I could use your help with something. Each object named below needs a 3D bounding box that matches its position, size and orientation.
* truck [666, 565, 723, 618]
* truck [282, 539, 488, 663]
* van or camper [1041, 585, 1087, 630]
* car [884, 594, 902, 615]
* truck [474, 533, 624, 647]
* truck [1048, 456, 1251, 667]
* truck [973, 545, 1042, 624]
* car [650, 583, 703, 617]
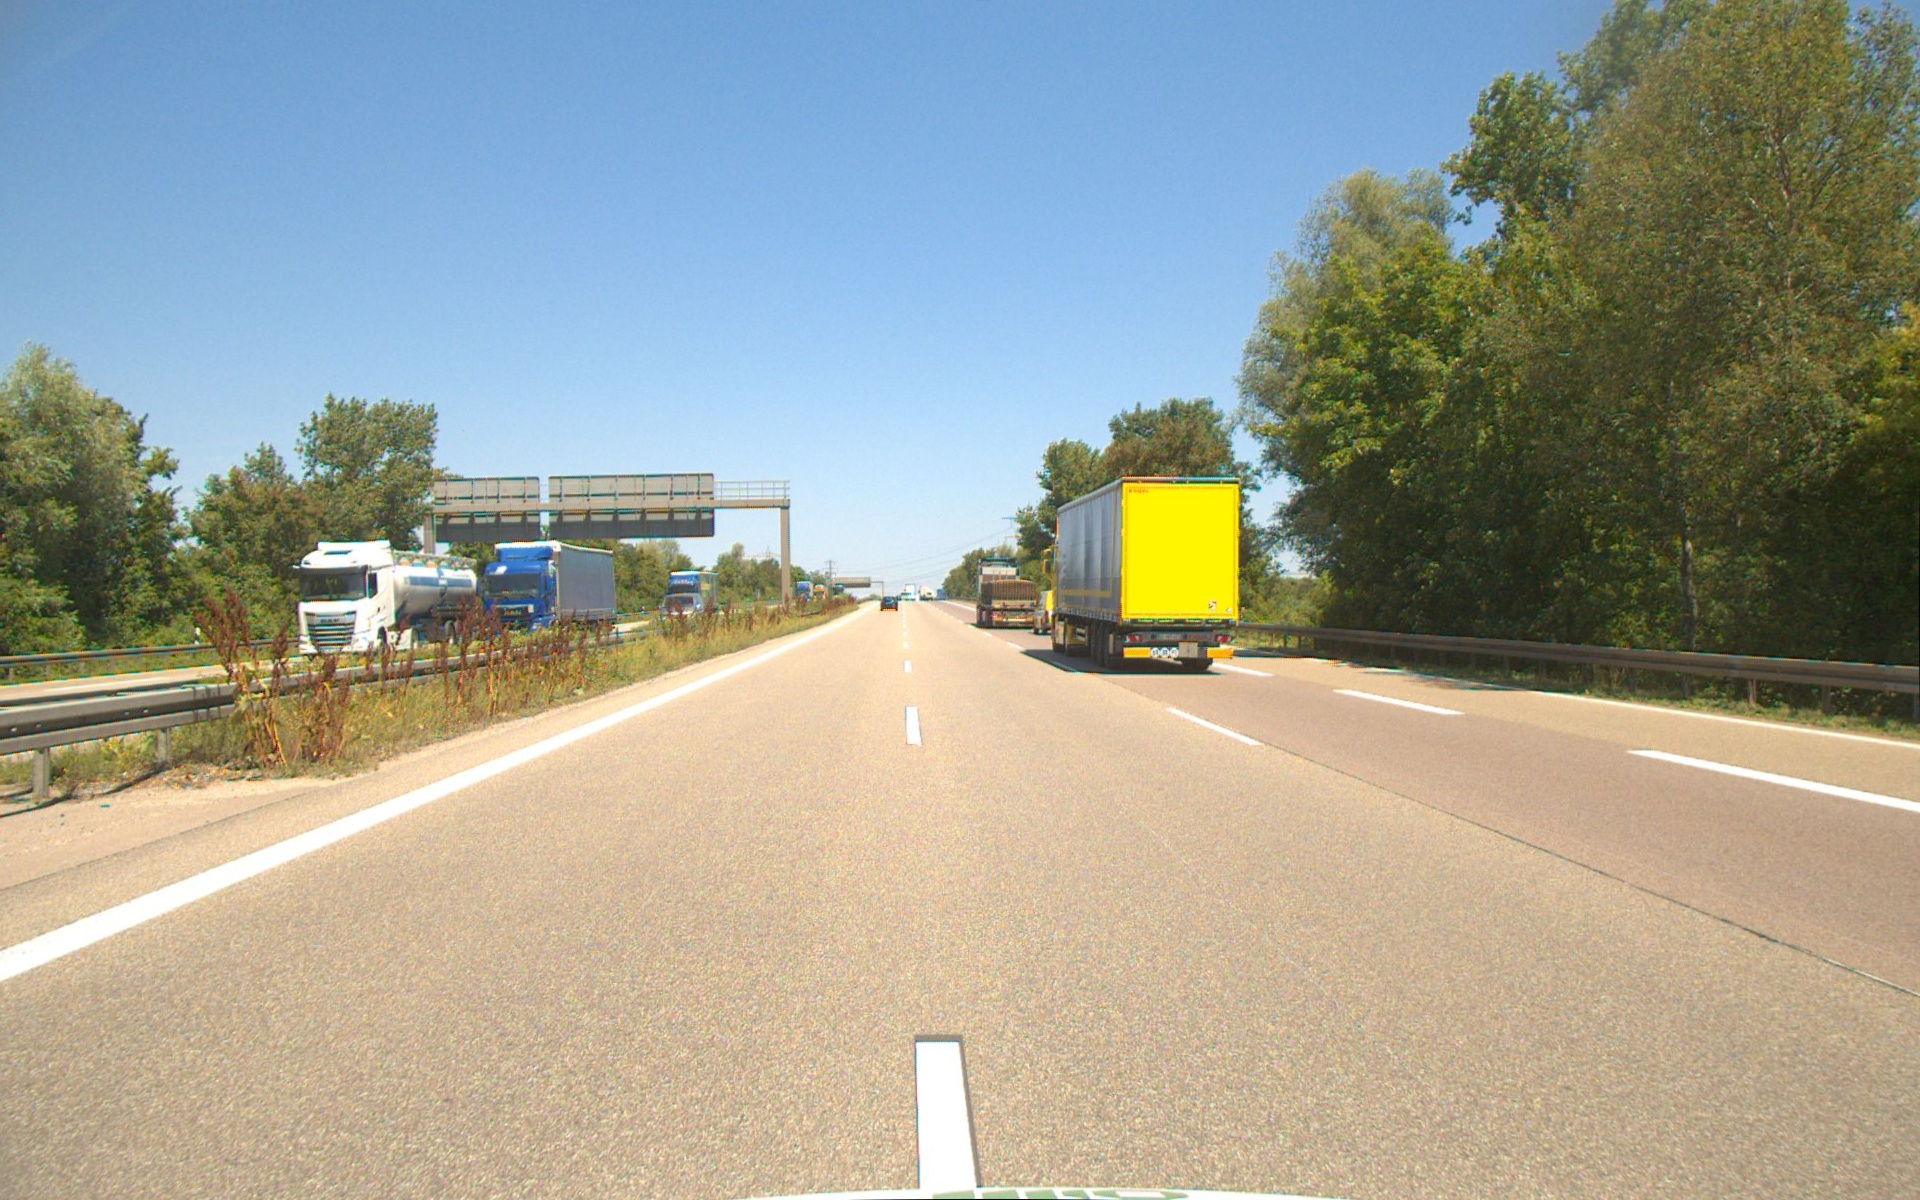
[{"bbox_3d":[-24.091,-0.743,151.135,2.896,4.418,18.233,-2,0,-2],"label":"truck"},{"bbox_3d":[-21.522,0.026,63.345,2.896,4.088,15.813,-2,0,-2],"label":"truck"},{"bbox_3d":[4.636,0.315,74.417,1.952,1.942,4.973,0,0,2],"label":"van or camper"},{"bbox_3d":[-6.723,0.422,165.626,1.755,2.049,3.886,0,-1,-2],"label":"car"},{"bbox_3d":[-17.676,-0.410,72.633,2.896,4.319,17.173,-2,0,-2],"label":"truck"},{"bbox_3d":[4.368,-0.754,42.693,2.788,4.332,16.785,-1,0,-2],"label":"truck"},{"bbox_3d":[2.470,-0.755,92.602,2.909,4.026,16.607,0,0,-2],"label":"truck"},{"bbox_3d":[-14.328,-0.023,83.927,1.953,1.617,4.816,-1,0,-2],"label":"car"}]
